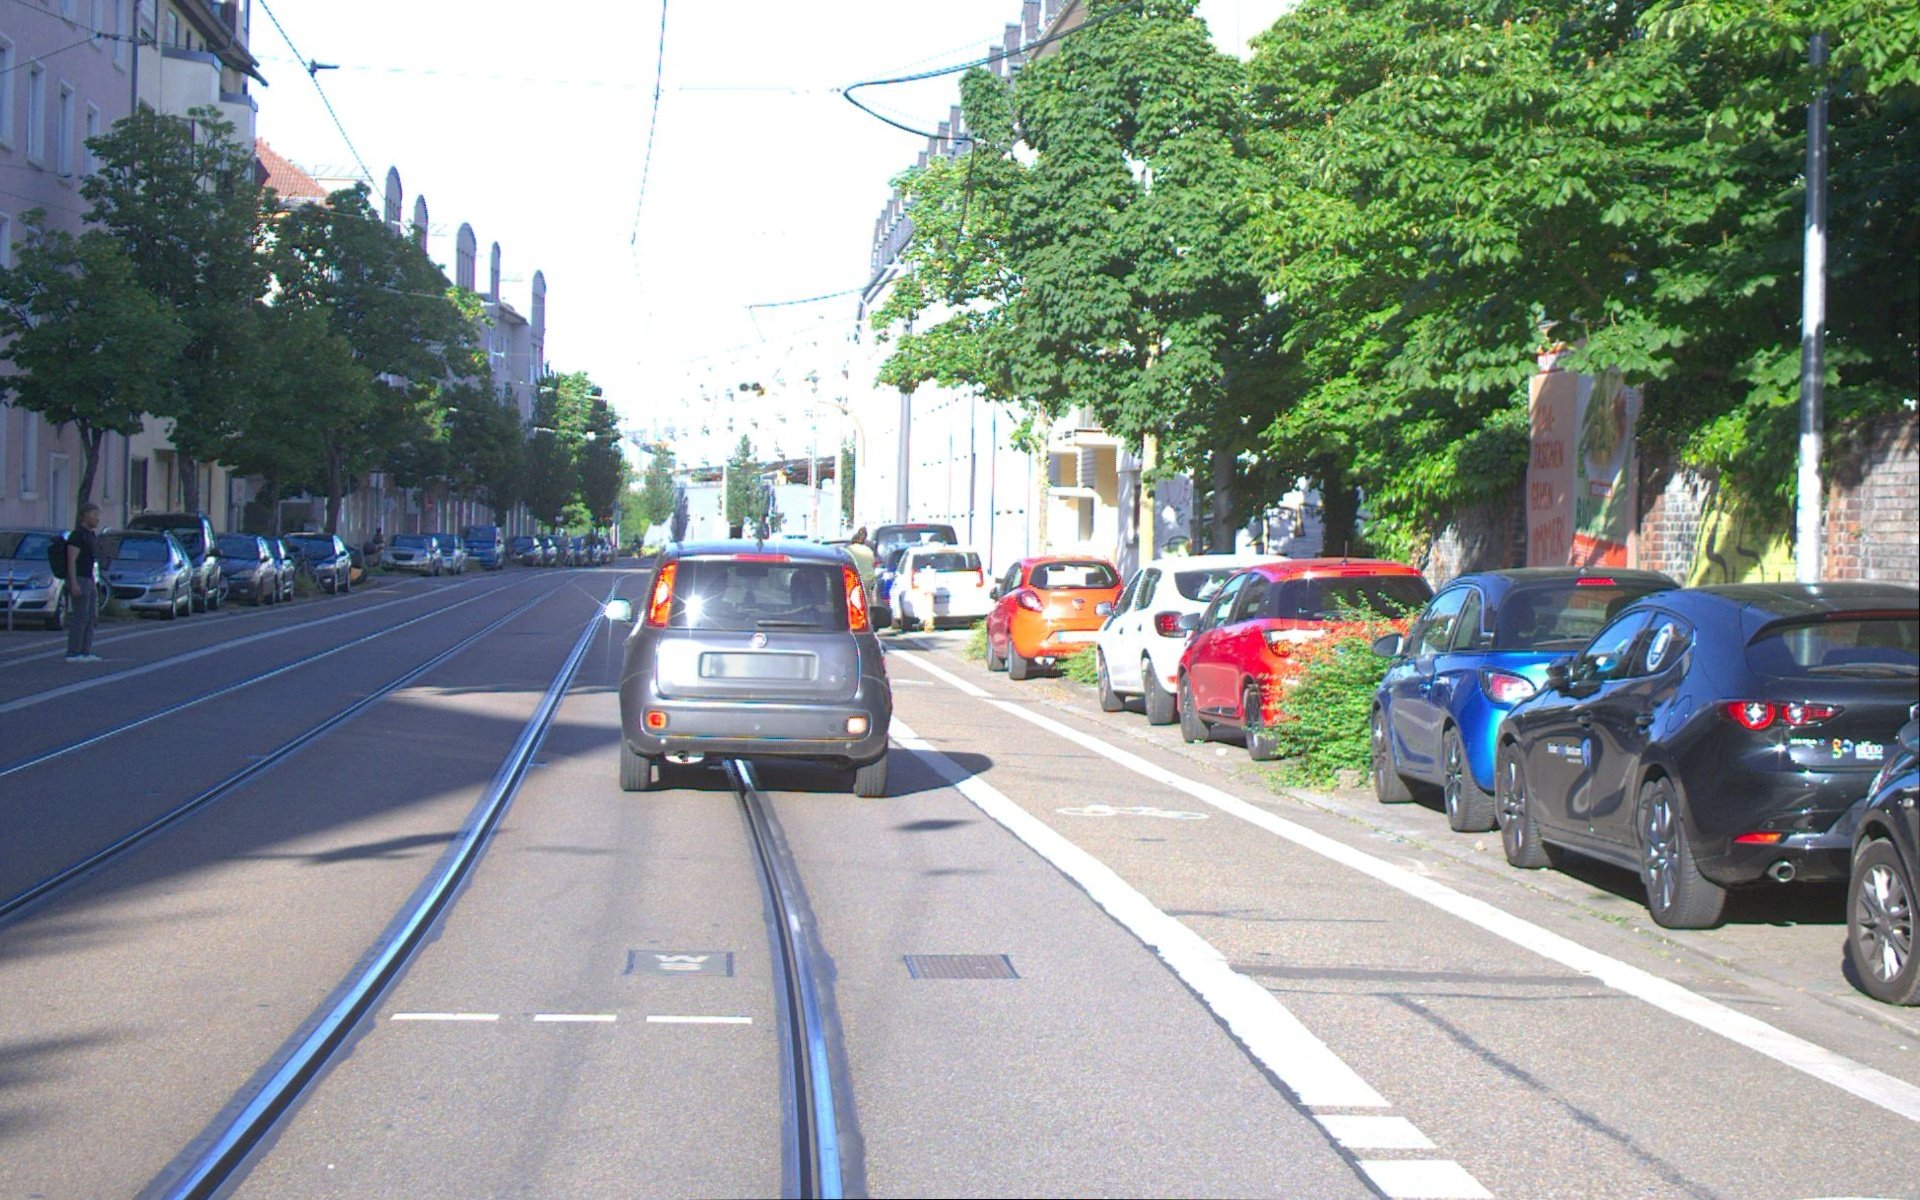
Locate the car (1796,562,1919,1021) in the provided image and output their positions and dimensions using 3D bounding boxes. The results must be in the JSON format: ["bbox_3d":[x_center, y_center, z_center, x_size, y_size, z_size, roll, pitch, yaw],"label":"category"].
[{"bbox_3d":[4.071,0.653,11.011,1.689,1.525,4.000,0,1,-2],"label":"car"}]

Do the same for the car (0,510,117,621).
[{"bbox_3d":[-13.434,-0.532,49.599,1.808,1.503,4.192,2,1,-5],"label":"car"}]

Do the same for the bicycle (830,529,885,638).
[{"bbox_3d":[-1.701,-0.289,56.615,0.675,1.741,2.158,2,1,-6],"label":"bicycle"}]

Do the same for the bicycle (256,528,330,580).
[{"bbox_3d":[-16.306,-1.116,84.049,1.728,1.192,0.373,2,1,-8],"label":"bicycle"}]

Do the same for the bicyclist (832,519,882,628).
[{"bbox_3d":[-1.697,-0.438,56.619,0.699,1.753,0.758,2,1,-6],"label":"bicyclist"}]

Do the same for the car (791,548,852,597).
[{"bbox_3d":[-4.210,-0.842,103.946,1.582,1.400,3.377,2,1,-6],"label":"car"}]

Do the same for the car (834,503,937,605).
[{"bbox_3d":[-1.559,-0.953,70.371,1.655,1.937,4.665,2,1,-6],"label":"car"}]

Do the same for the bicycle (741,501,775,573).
[{"bbox_3d":[-5.737,-1.792,97.587,0.741,2.007,2.812,2,1,-6],"label":"bicycle"}]

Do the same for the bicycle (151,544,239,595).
[{"bbox_3d":[-15.150,-0.599,68.134,1.631,0.934,0.517,2,1,-9],"label":"bicycle"}]

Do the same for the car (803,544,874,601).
[{"bbox_3d":[-3.232,-0.737,90.995,1.582,1.400,3.377,-2,1,-6],"label":"car"}]

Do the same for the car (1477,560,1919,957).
[{"bbox_3d":[3.589,0.594,15.620,1.689,1.525,4.356,0,1,-2],"label":"car"}]

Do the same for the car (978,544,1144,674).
[{"bbox_3d":[1.210,0.076,42.471,1.635,1.503,3.398,-1,1,-5],"label":"car"}]

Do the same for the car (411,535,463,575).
[{"bbox_3d":[-20.682,-1.783,136.014,1.706,1.491,3.722,2,1,-4],"label":"car"}]

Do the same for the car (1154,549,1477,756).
[{"bbox_3d":[2.766,0.360,27.562,1.688,1.525,4.001,0,1,-8],"label":"car"}]

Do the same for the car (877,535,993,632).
[{"bbox_3d":[-0.461,-0.313,60.249,1.655,1.566,3.500,2,1,-6],"label":"car"}]

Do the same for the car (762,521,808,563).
[{"bbox_3d":[-6.900,-2.293,135.556,1.582,1.593,3.377,2,1,-6],"label":"car"}]

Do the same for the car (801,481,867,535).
[{"bbox_3d":[-3.555,-2.571,96.547,1.582,1.400,3.377,2,1,-6],"label":"car"}]

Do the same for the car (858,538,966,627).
[{"bbox_3d":[-0.937,-0.357,64.918,1.655,1.566,3.877,2,1,-6],"label":"car"}]

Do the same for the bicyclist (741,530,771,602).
[{"bbox_3d":[-5.805,-0.979,97.718,0.715,2.007,0.832,2,1,-6],"label":"bicyclist"}]

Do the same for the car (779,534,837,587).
[{"bbox_3d":[-4.869,-1.266,109.763,1.582,1.593,3.377,2,1,-6],"label":"car"}]

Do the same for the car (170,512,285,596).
[{"bbox_3d":[-15.210,-0.973,71.575,1.808,1.614,4.065,2,1,-5],"label":"car"}]

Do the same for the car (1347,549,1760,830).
[{"bbox_3d":[3.479,0.461,20.839,1.689,1.525,4.000,0,1,-2],"label":"car"}]

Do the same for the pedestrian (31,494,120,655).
[{"bbox_3d":[-9.881,-0.296,38.396,0.849,1.770,0.735,0,2,-25],"label":"pedestrian"}]

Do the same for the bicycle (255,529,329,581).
[{"bbox_3d":[-16.395,-1.100,84.447,1.728,1.192,0.373,2,1,-8],"label":"bicycle"}]

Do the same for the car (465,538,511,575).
[{"bbox_3d":[-20.596,-1.905,150.184,1.706,1.491,3.722,2,1,-4],"label":"car"}]

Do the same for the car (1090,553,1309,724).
[{"bbox_3d":[2.225,0.318,32.889,1.689,1.525,4.000,0,1,-2],"label":"car"}]

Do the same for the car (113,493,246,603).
[{"bbox_3d":[-14.663,-0.984,64.785,1.808,1.937,4.335,2,1,-5],"label":"car"}]

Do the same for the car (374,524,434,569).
[{"bbox_3d":[-19.651,-1.898,121.579,1.706,1.491,3.722,2,1,-4],"label":"car"}]

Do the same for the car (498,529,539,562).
[{"bbox_3d":[-21.264,-2.625,165.826,1.706,1.491,3.722,2,1,-4],"label":"car"}]

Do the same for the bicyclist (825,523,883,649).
[{"bbox_3d":[-1.508,-0.201,48.775,0.699,1.753,0.758,2,1,-6],"label":"bicyclist"}]

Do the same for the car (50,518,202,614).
[{"bbox_3d":[-14.128,-0.599,58.459,1.808,1.503,4.682,2,1,-5],"label":"car"}]

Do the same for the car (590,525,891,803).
[{"bbox_3d":[-1.307,0.329,21.917,1.650,1.536,4.235,2,1,-1],"label":"car"}]

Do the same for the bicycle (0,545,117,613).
[{"bbox_3d":[-14.156,-0.333,53.995,1.666,0.998,0.476,2,1,-2],"label":"bicycle"}]

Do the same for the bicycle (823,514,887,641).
[{"bbox_3d":[-1.510,-0.331,49.054,0.675,1.741,2.158,2,1,-6],"label":"bicycle"}]
